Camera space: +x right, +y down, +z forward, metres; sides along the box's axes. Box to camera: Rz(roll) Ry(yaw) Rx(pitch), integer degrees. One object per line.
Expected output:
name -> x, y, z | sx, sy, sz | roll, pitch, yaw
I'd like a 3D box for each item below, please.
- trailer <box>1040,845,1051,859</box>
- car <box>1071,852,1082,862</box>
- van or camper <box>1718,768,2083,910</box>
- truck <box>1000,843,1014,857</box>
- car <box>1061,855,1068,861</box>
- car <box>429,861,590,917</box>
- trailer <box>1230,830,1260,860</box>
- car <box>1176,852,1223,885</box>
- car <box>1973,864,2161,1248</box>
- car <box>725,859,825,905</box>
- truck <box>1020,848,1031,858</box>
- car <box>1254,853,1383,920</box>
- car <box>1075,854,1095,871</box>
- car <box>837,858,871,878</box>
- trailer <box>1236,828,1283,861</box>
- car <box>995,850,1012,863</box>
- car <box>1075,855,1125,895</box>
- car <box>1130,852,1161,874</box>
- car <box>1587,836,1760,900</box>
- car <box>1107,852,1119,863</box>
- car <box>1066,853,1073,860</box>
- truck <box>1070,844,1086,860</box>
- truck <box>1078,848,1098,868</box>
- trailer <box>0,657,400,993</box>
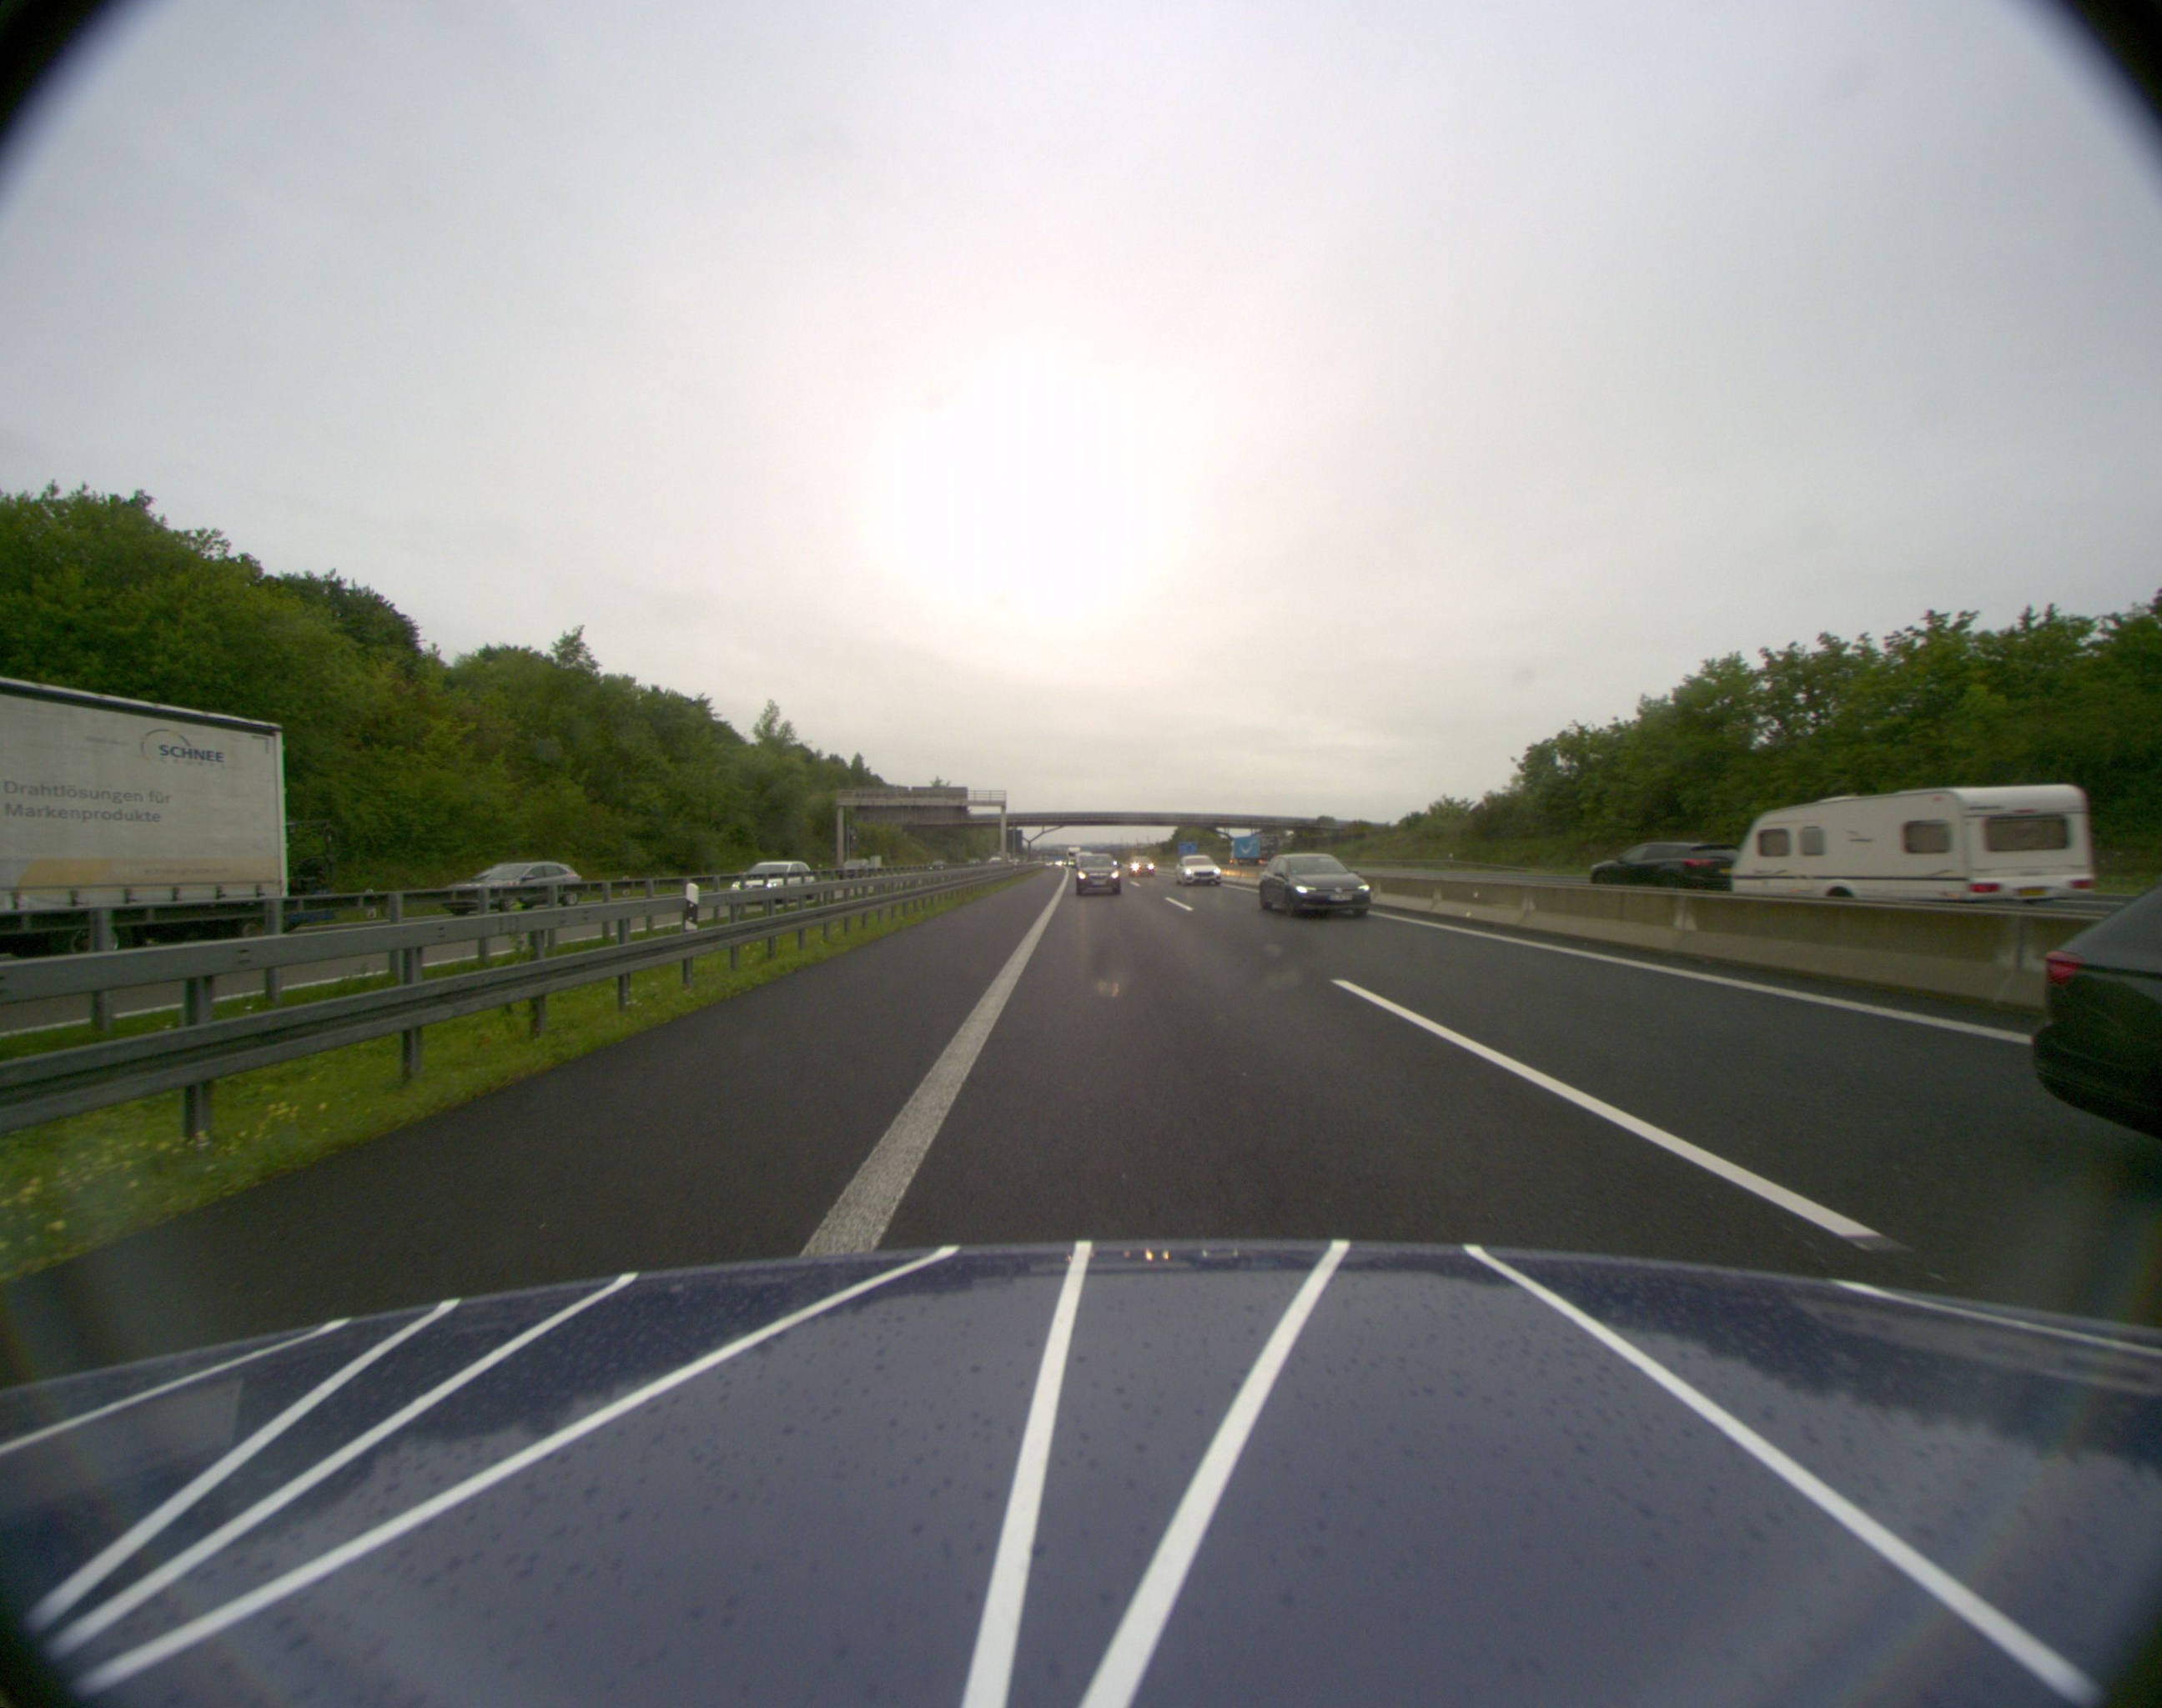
trailer -> -9.925, -0.596, 215.885 | 2.547, 3.799, 11.329 | -1, 0, 0
car -> -0.742, 0.514, 128.868 | 1.715, 1.724, 4.000 | -1, 0, 1
van or camper -> 16.763, -0.272, 16.161 | 1.800, 2.455, 5.547 | -1, 0, 0
truck -> -18.006, -0.974, 186.051 | 2.909, 3.397, 9.279 | -1, 1, -3
car -> -5.532, 1.278, 251.218 | 1.916, 1.671, 4.000 | -1, 1, 3
car -> -18.899, 1.099, 25.450 | 1.864, 1.605, 4.499 | -1, 1, 1
trailer -> 23.321, -1.243, 108.081 | 2.797, 4.060, 6.041 | -1, 0, -1
car -> 5.872, 0.695, 38.117 | 1.905, 1.497, 4.115 | -1, 0, 3
car -> 5.187, 0.803, 1.198 | 1.905, 1.488, 4.851 | -1, 0, 1
car -> -10.771, 0.930, 27.094 | 1.864, 1.439, 4.157 | -1, 1, 0
truck -> -18.487, -0.370, 253.715 | 2.909, 3.397, 13.350 | -1, 1, -1
car -> 5.686, 0.704, 18.803 | 1.905, 1.397, 4.459 | -1, 0, 1
car -> 0.441, 0.885, 79.706 | 1.825, 1.669, 4.001 | -1, 1, 3
car -> -18.781, 1.130, 63.136 | 1.865, 1.573, 4.238 | -1, 1, -5
trailer -> 23.468, -1.225, 100.926 | 2.797, 4.060, 13.523 | -1, 0, -1
car -> -11.424, 0.405, 112.212 | 1.864, 1.795, 4.647 | -1, 1, 0
car -> 0.849, 0.826, 31.519 | 1.905, 1.497, 4.115 | -1, 0, 3
car -> 4.795, 0.658, 56.923 | 1.905, 1.497, 4.113 | -1, 0, 0
car -> 16.693, 0.356, 21.728 | 1.531, 1.611, 4.388 | -1, 0, 0
car -> 4.967, 0.522, 116.974 | 1.715, 1.724, 4.000 | -1, 0, 1
car -> -2.857, 0.695, 191.045 | 1.715, 1.724, 4.000 | -1, 0, 1
truck -> -0.523, -0.440, 162.248 | 3.153, 3.332, 13.099 | -1, 1, 0
truck -> 0.813, 0.455, 87.041 | 2.175, 2.214, 5.641 | -1, 0, 0
trailer -> -15.400, -0.341, 9.961 | 3.446, 4.264, 10.452 | -1, 0, 0
